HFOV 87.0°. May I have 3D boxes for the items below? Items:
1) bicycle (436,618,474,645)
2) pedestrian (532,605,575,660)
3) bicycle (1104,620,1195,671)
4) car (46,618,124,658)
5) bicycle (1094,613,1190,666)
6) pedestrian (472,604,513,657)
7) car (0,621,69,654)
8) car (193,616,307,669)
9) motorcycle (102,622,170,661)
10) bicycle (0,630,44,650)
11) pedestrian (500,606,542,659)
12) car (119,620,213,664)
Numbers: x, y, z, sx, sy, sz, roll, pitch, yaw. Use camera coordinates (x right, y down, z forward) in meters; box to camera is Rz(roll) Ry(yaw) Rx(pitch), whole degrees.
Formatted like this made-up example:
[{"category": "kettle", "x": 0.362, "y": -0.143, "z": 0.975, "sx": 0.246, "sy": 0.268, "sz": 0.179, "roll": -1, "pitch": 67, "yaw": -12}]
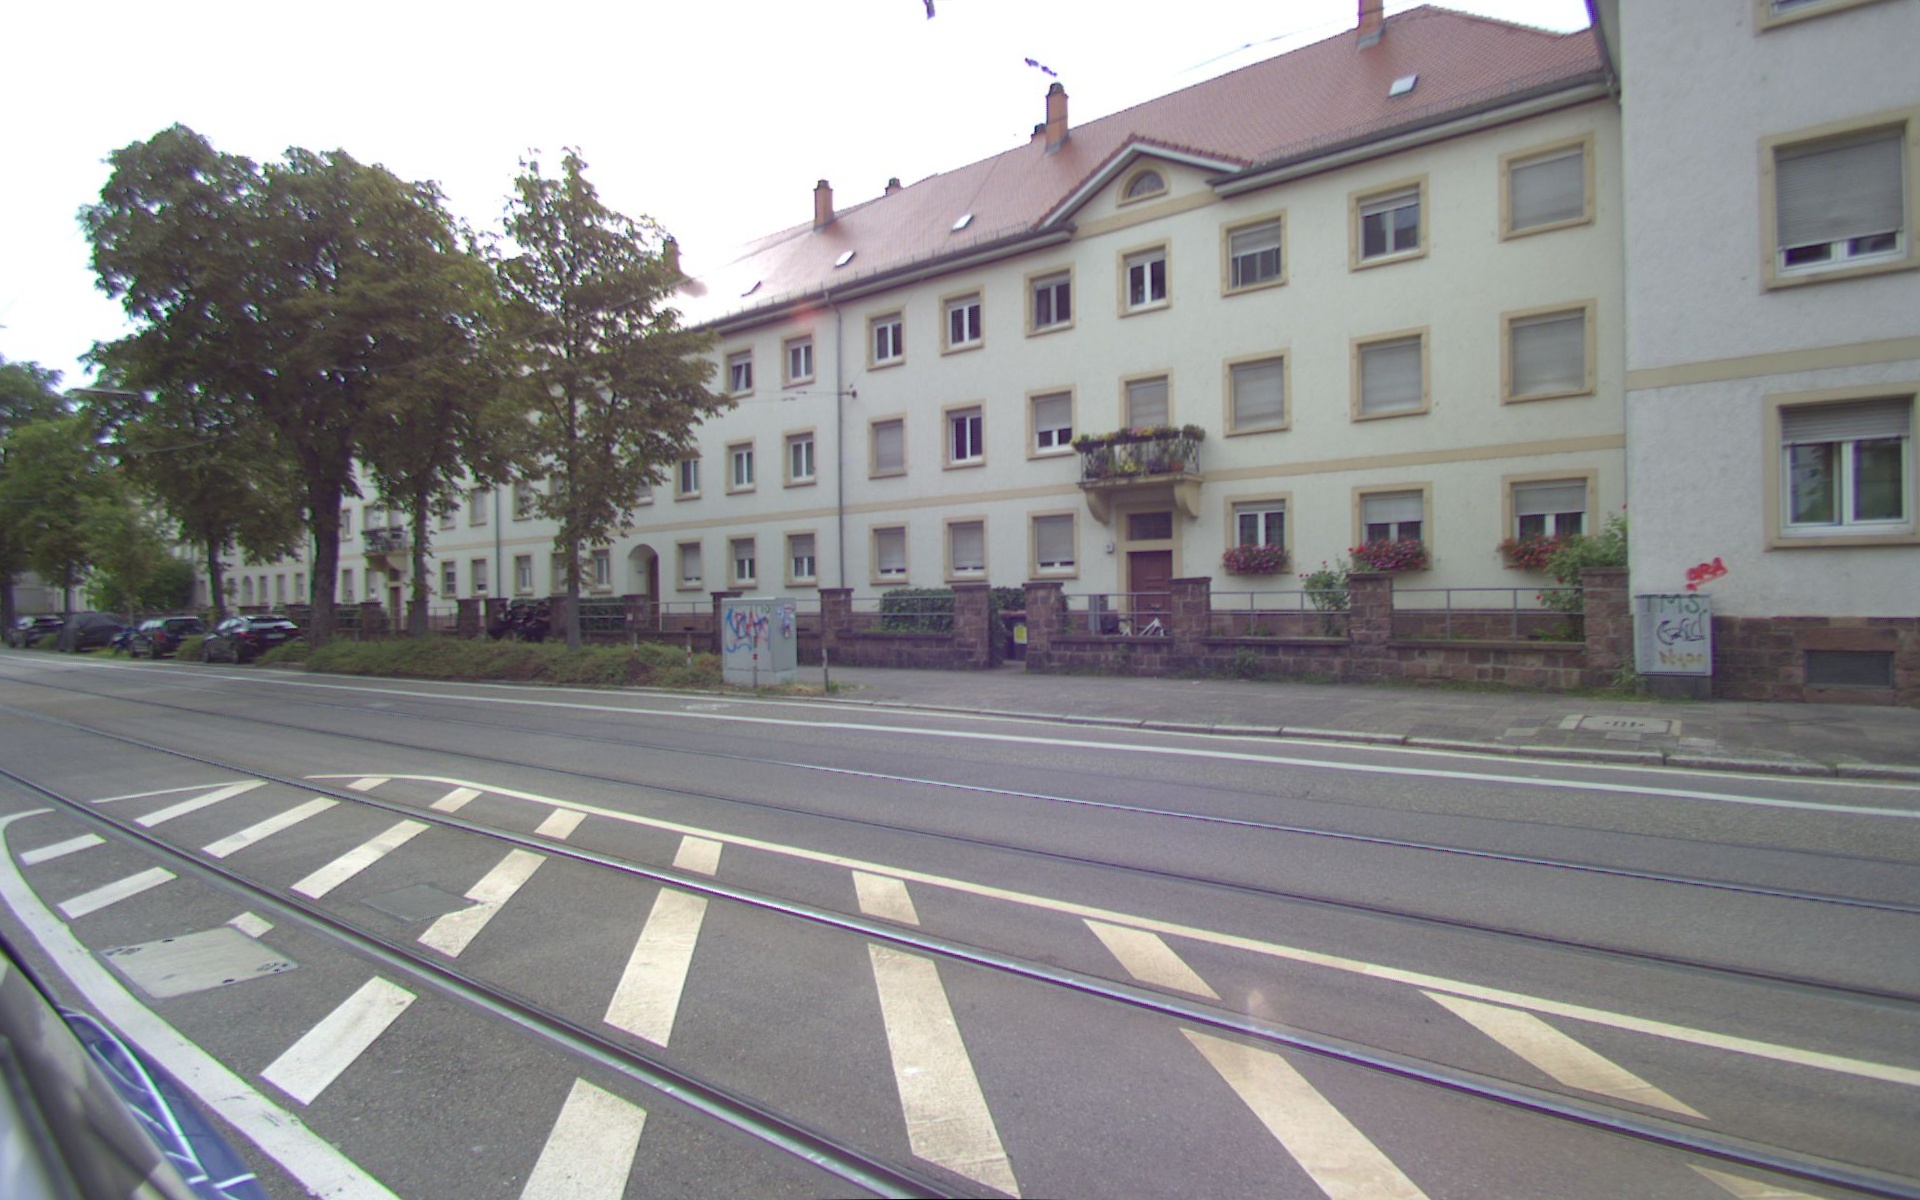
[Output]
[{"category": "bicycle", "x": -16.519, "y": 1.033, "z": 33.111, "sx": 1.548, "sy": 0.869, "sz": 0.503, "roll": -1, "pitch": -1, "yaw": 38}, {"category": "pedestrian", "x": -11.172, "y": 0.874, "z": 27.805, "sx": 0.730, "sy": 1.476, "sz": 0.826, "roll": -1, "pitch": -1, "yaw": 33}, {"category": "bicycle", "x": 3.578, "y": 0.858, "z": 19.222, "sx": 1.670, "sy": 0.922, "sz": 0.473, "roll": -1, "pitch": -1, "yaw": 38}, {"category": "car", "x": -37.812, "y": 1.617, "z": 43.707, "sx": 4.294, "sy": 1.624, "sz": 1.768, "roll": -1, "pitch": -1, "yaw": 38}, {"category": "bicycle", "x": 3.265, "y": 0.701, "z": 18.245, "sx": 1.670, "sy": 0.922, "sz": 0.473, "roll": -1, "pitch": -1, "yaw": 38}, {"category": "pedestrian", "x": -13.677, "y": 0.893, "z": 29.619, "sx": 0.730, "sy": 1.524, "sz": 0.826, "roll": -1, "pitch": -1, "yaw": 33}, {"category": "car", "x": -45.130, "y": 1.805, "z": 49.299, "sx": 4.291, "sy": 1.481, "sz": 1.682, "roll": -1, "pitch": -1, "yaw": 36}, {"category": "car", "x": -22.174, "y": 1.305, "z": 31.543, "sx": 4.294, "sy": 1.434, "sz": 1.681, "roll": -1, "pitch": 2, "yaw": 38}, {"category": "motorcycle", "x": -31.767, "y": 1.576, "z": 39.034, "sx": 0.590, "sy": 1.269, "sz": 1.852, "roll": -1, "pitch": 5, "yaw": 34}, {"category": "bicycle", "x": -48.593, "y": 2.085, "z": 52.385, "sx": 0.670, "sy": 0.978, "sz": 1.656, "roll": -1, "pitch": -1, "yaw": 29}, {"category": "pedestrian", "x": -12.398, "y": 0.909, "z": 28.605, "sx": 0.730, "sy": 1.476, "sz": 0.826, "roll": -1, "pitch": -1, "yaw": 33}, {"category": "car", "x": -28.769, "y": 1.474, "z": 36.633, "sx": 4.294, "sy": 1.434, "sz": 1.681, "roll": -1, "pitch": 1, "yaw": 38}]
